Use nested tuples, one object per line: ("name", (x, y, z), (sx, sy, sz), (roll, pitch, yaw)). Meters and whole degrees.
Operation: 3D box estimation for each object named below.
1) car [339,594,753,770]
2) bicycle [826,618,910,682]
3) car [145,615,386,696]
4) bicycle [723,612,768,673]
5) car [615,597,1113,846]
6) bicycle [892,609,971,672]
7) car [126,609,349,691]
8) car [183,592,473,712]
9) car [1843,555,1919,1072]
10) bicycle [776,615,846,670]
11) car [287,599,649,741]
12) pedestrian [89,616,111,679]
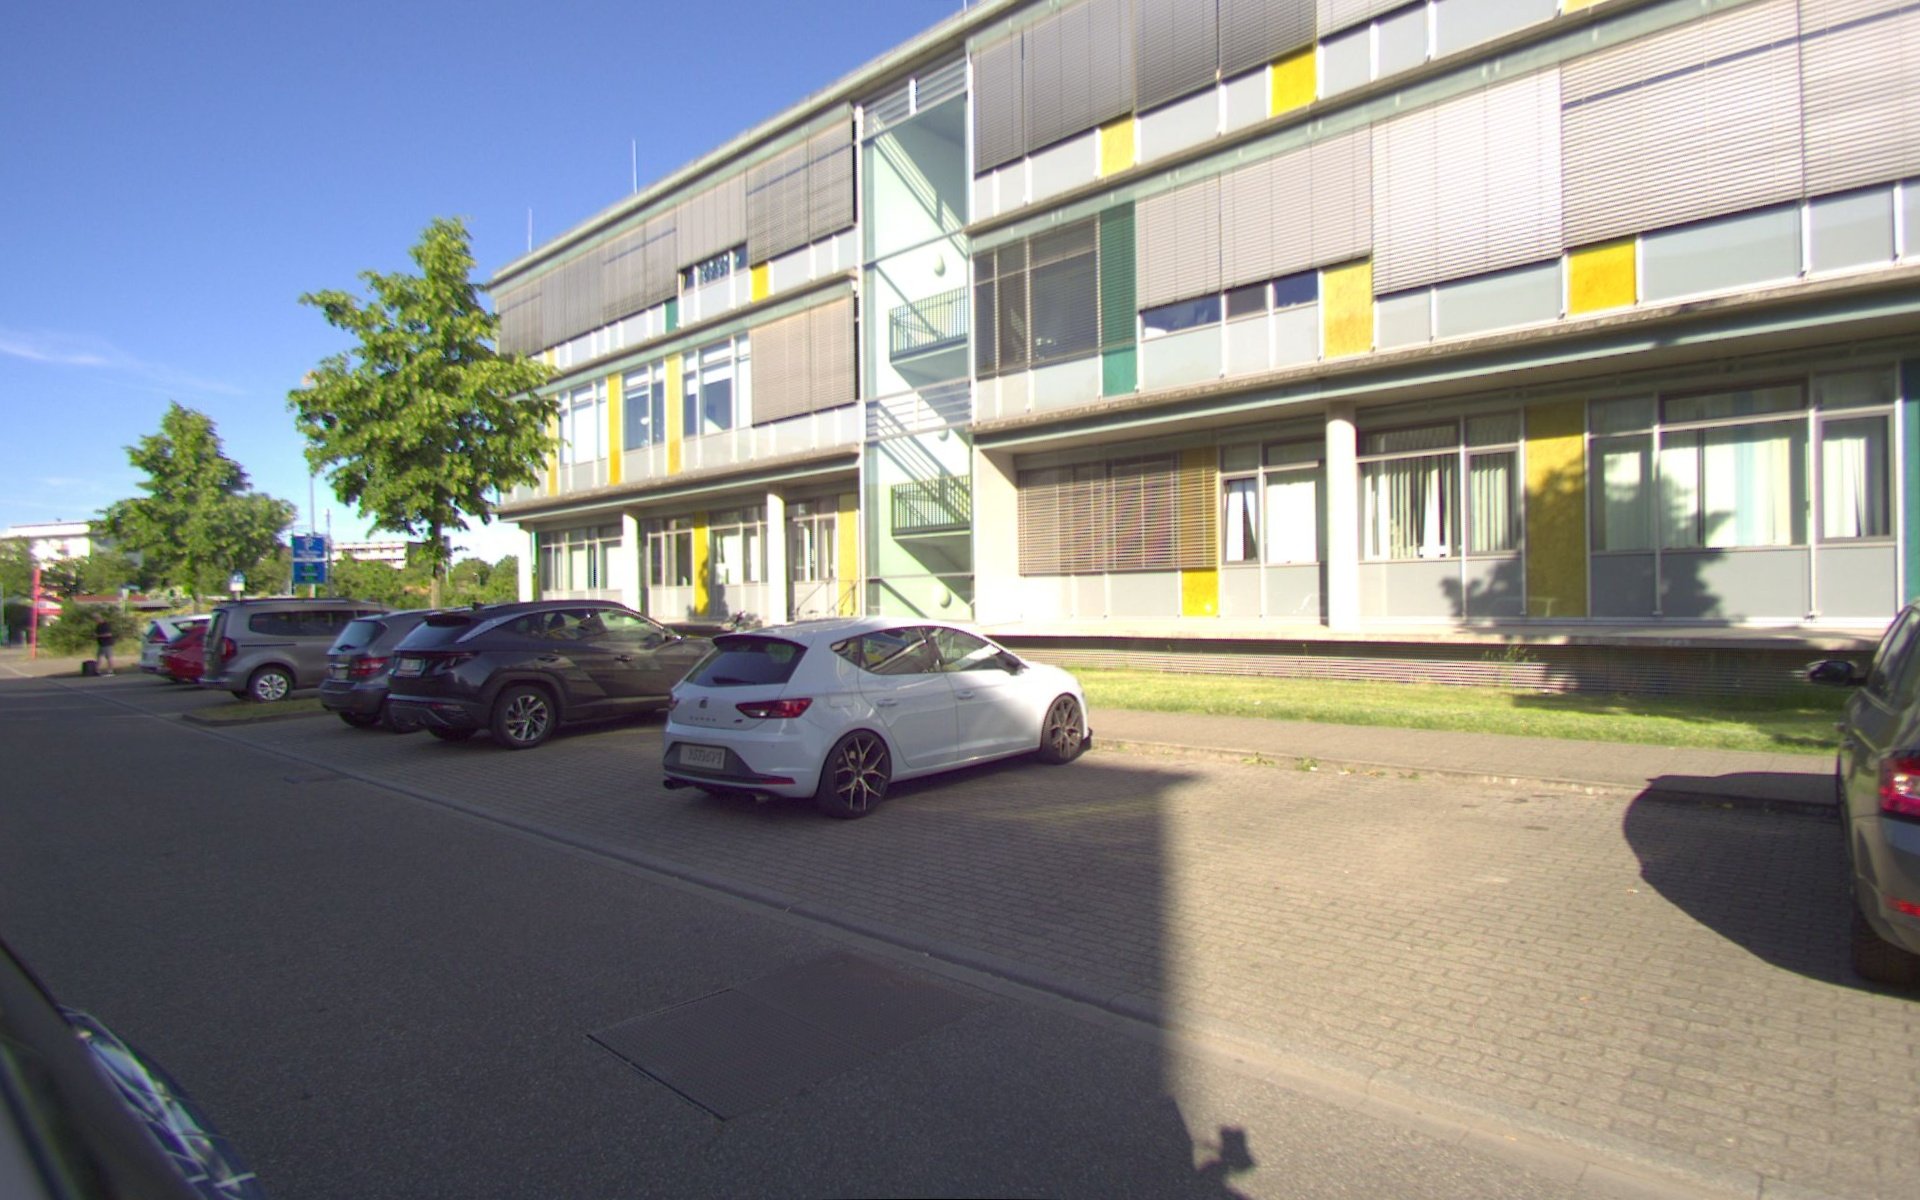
("car", (-4.922, 0.828, 12.569), (1.998, 1.639, 4.307), (-1, 2, 38))
("bicycle", (-1.652, 0.876, 18.026), (1.660, 1.087, 0.512), (-2, -2, 42))
("car", (-15.910, 1.203, 23.318), (4.296, 1.471, 2.002), (-3, 1, -43))
("bicycle", (-4.332, 0.837, 20.427), (0.455, 1.104, 1.517), (-2, 3, -28))
("car", (-0.577, 0.780, 8.570), (1.823, 1.433, 4.049), (-1, 2, 41))
("bicycle", (-0.547, 0.746, 19.043), (1.509, 1.104, 0.458), (1, 3, 36))
("car", (-17.975, 1.166, 25.295), (4.296, 1.659, 2.002), (-3, 1, -43))
("car", (-12.020, 0.892, 19.445), (2.000, 1.876, 4.301), (-2, 1, 43))
("car", (4.699, 0.563, 3.950), (1.823, 1.499, 3.940), (-1, 2, 41))
("bicycle", (-3.118, 0.877, 21.081), (1.660, 1.105, 0.512), (-2, -2, 42))
("car", (-7.046, 0.892, 14.880), (1.997, 1.602, 4.307), (-2, 1, 38))
("pedestrian", (-24.523, 1.352, 28.861), (0.479, 1.733, 0.364), (4, 4, 39))
